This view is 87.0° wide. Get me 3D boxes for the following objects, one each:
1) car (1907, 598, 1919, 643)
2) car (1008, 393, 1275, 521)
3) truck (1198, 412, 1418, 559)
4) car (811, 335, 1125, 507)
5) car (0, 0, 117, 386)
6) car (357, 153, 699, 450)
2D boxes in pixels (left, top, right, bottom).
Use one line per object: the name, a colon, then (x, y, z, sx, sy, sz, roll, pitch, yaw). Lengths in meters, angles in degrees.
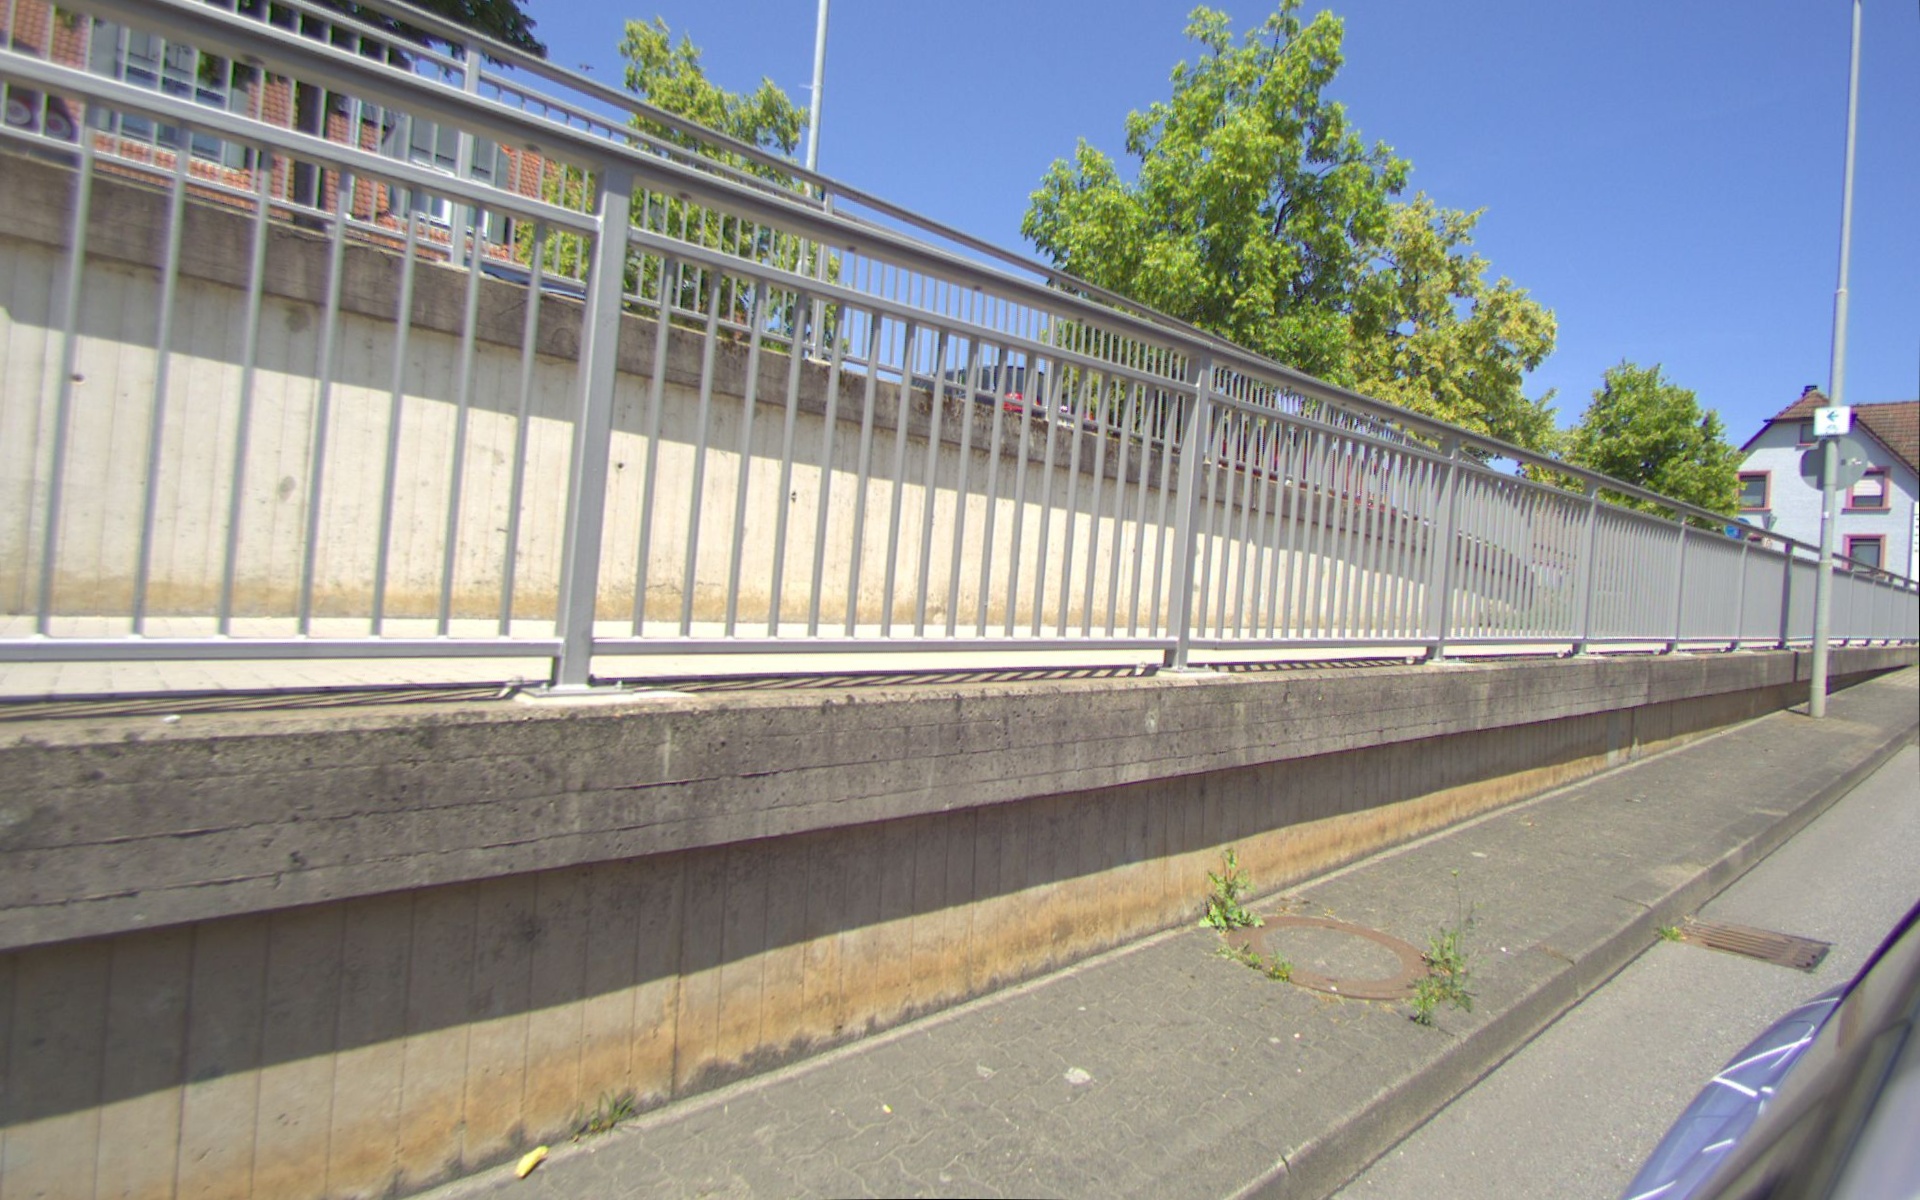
car: (34.133, 0.829, 33.722, 3.672, 1.497, 1.747, 5, 2, 44)
car: (2.777, -2.164, 16.212, 1.717, 1.517, 3.996, 4, -1, -39)
truck: (7.564, -2.271, 21.678, 5.167, 2.364, 2.136, 4, -1, -42)
car: (-0.068, -2.113, 12.988, 1.655, 1.517, 4.214, 4, -1, -39)
car: (-6.983, -2.704, 6.982, 1.655, 1.616, 4.214, 4, -1, -39)
car: (-4.203, -2.452, 9.407, 1.717, 1.517, 4.296, 4, -1, -39)
